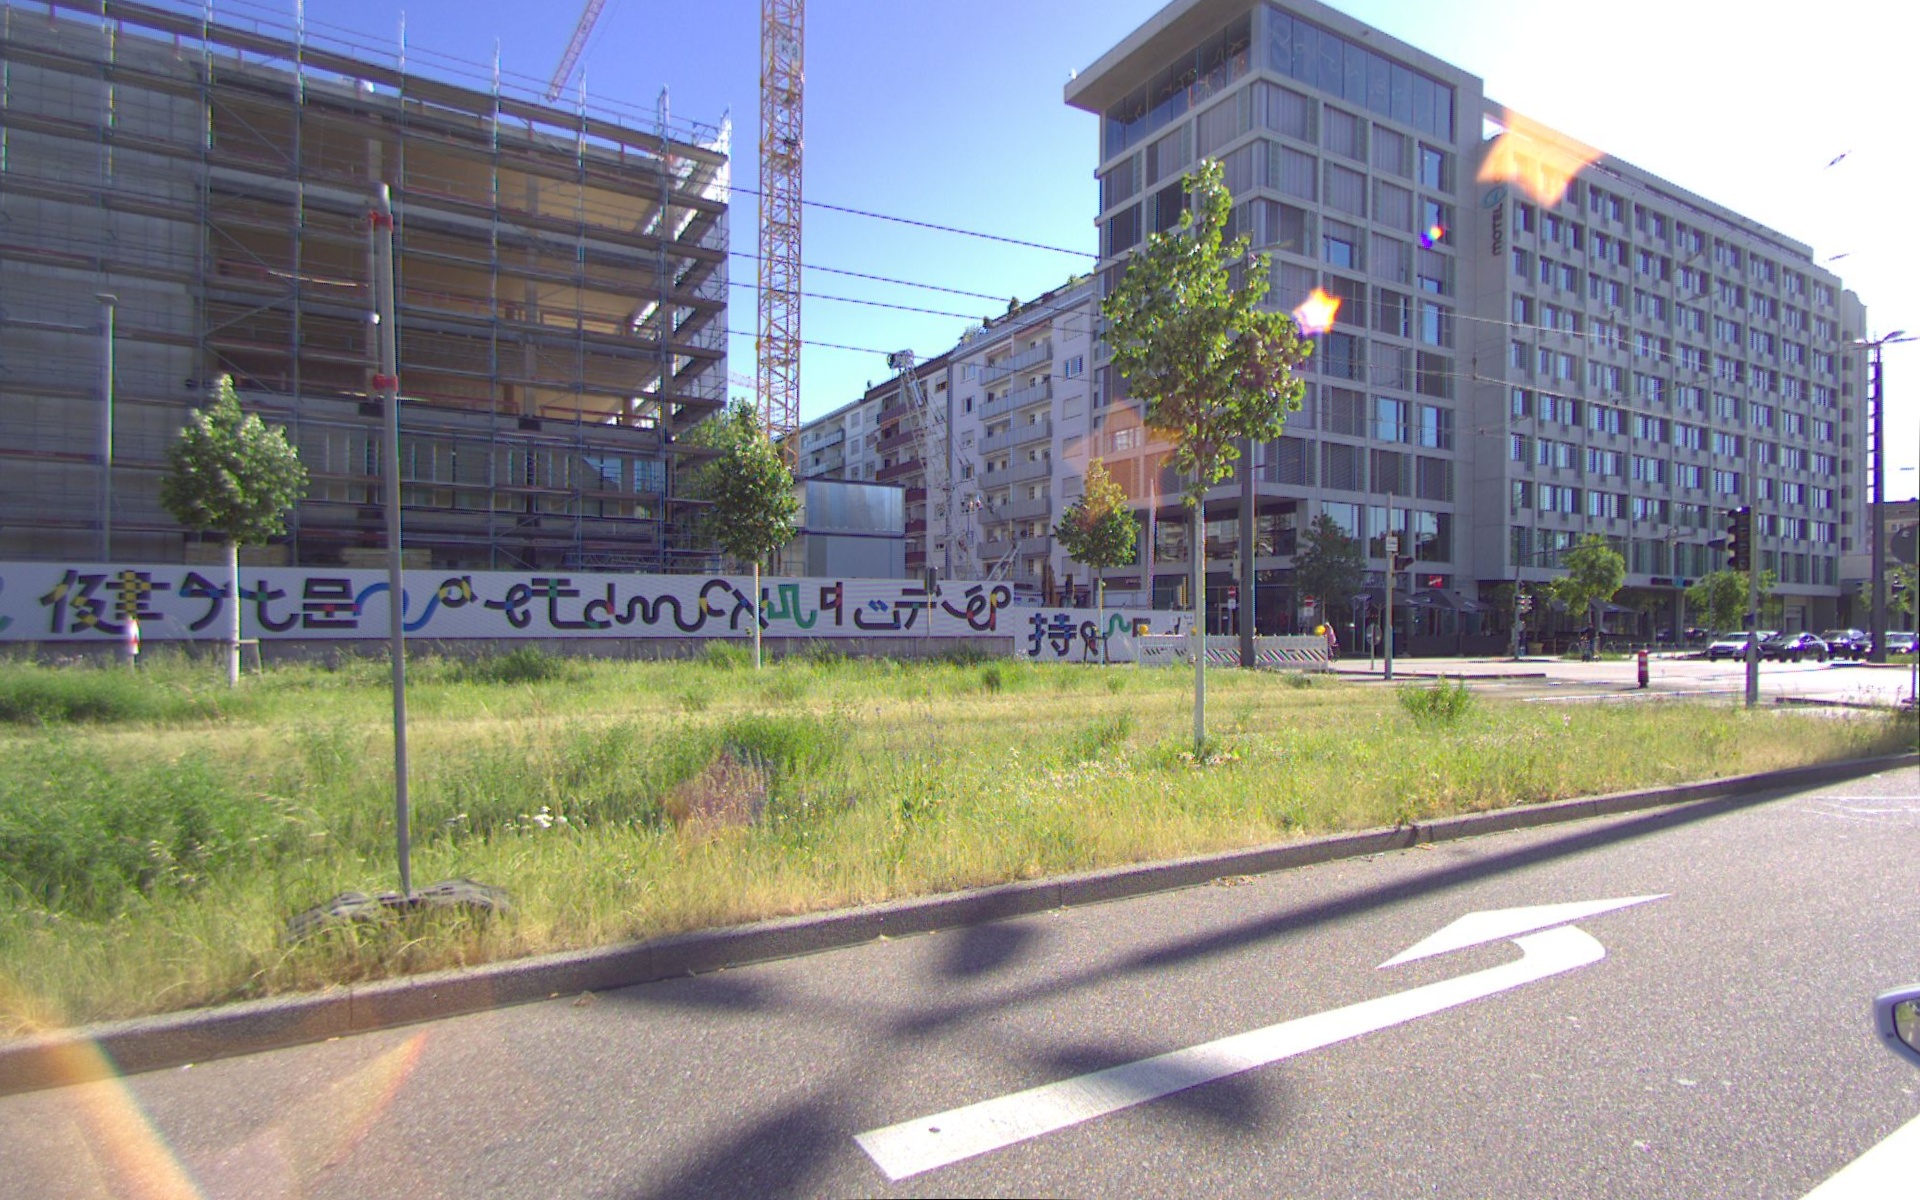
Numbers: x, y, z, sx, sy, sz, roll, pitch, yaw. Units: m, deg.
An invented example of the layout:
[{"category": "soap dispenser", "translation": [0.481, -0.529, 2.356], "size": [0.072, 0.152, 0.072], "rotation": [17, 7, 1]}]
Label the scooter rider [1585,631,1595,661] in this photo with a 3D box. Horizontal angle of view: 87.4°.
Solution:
[{"category": "scooter rider", "translation": [31.378, 2.280, 50.033], "size": [0.236, 1.472, 0.341], "rotation": [1, -1, -29]}]

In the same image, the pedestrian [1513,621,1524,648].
[{"category": "pedestrian", "translation": [31.309, 1.916, 56.280], "size": [0.338, 1.513, 0.414], "rotation": [1, -1, -30]}]

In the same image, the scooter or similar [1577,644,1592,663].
[{"category": "scooter or similar", "translation": [31.909, 2.735, 51.326], "size": [0.756, 0.960, 0.285], "rotation": [1, -1, -24]}]

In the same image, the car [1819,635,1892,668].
[{"category": "car", "translation": [47.712, 2.718, 53.508], "size": [3.953, 1.673, 1.782], "rotation": [1, -1, -30]}]

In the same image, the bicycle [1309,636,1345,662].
[{"category": "bicycle", "translation": [16.477, 2.207, 45.077], "size": [1.601, 1.115, 0.584], "rotation": [2, 0, -27]}]

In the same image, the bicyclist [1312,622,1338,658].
[{"category": "bicyclist", "translation": [16.410, 1.795, 45.138], "size": [0.881, 1.601, 0.591], "rotation": [2, 1, -27]}]

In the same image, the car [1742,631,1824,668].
[{"category": "car", "translation": [39.458, 2.339, 48.129], "size": [3.953, 1.673, 1.782], "rotation": [1, -1, -30]}]

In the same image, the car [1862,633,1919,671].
[{"category": "car", "translation": [44.364, 2.405, 47.144], "size": [4.284, 1.673, 1.782], "rotation": [1, -1, -30]}]

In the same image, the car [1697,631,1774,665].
[{"category": "car", "translation": [40.004, 2.429, 51.799], "size": [3.953, 1.673, 1.782], "rotation": [1, -1, -30]}]

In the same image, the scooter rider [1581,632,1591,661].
[{"category": "scooter rider", "translation": [31.944, 2.362, 51.241], "size": [0.236, 1.472, 0.341], "rotation": [1, -1, -29]}]

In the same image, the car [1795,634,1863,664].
[{"category": "car", "translation": [49.993, 2.788, 57.804], "size": [3.953, 1.673, 1.782], "rotation": [1, -1, -30]}]
